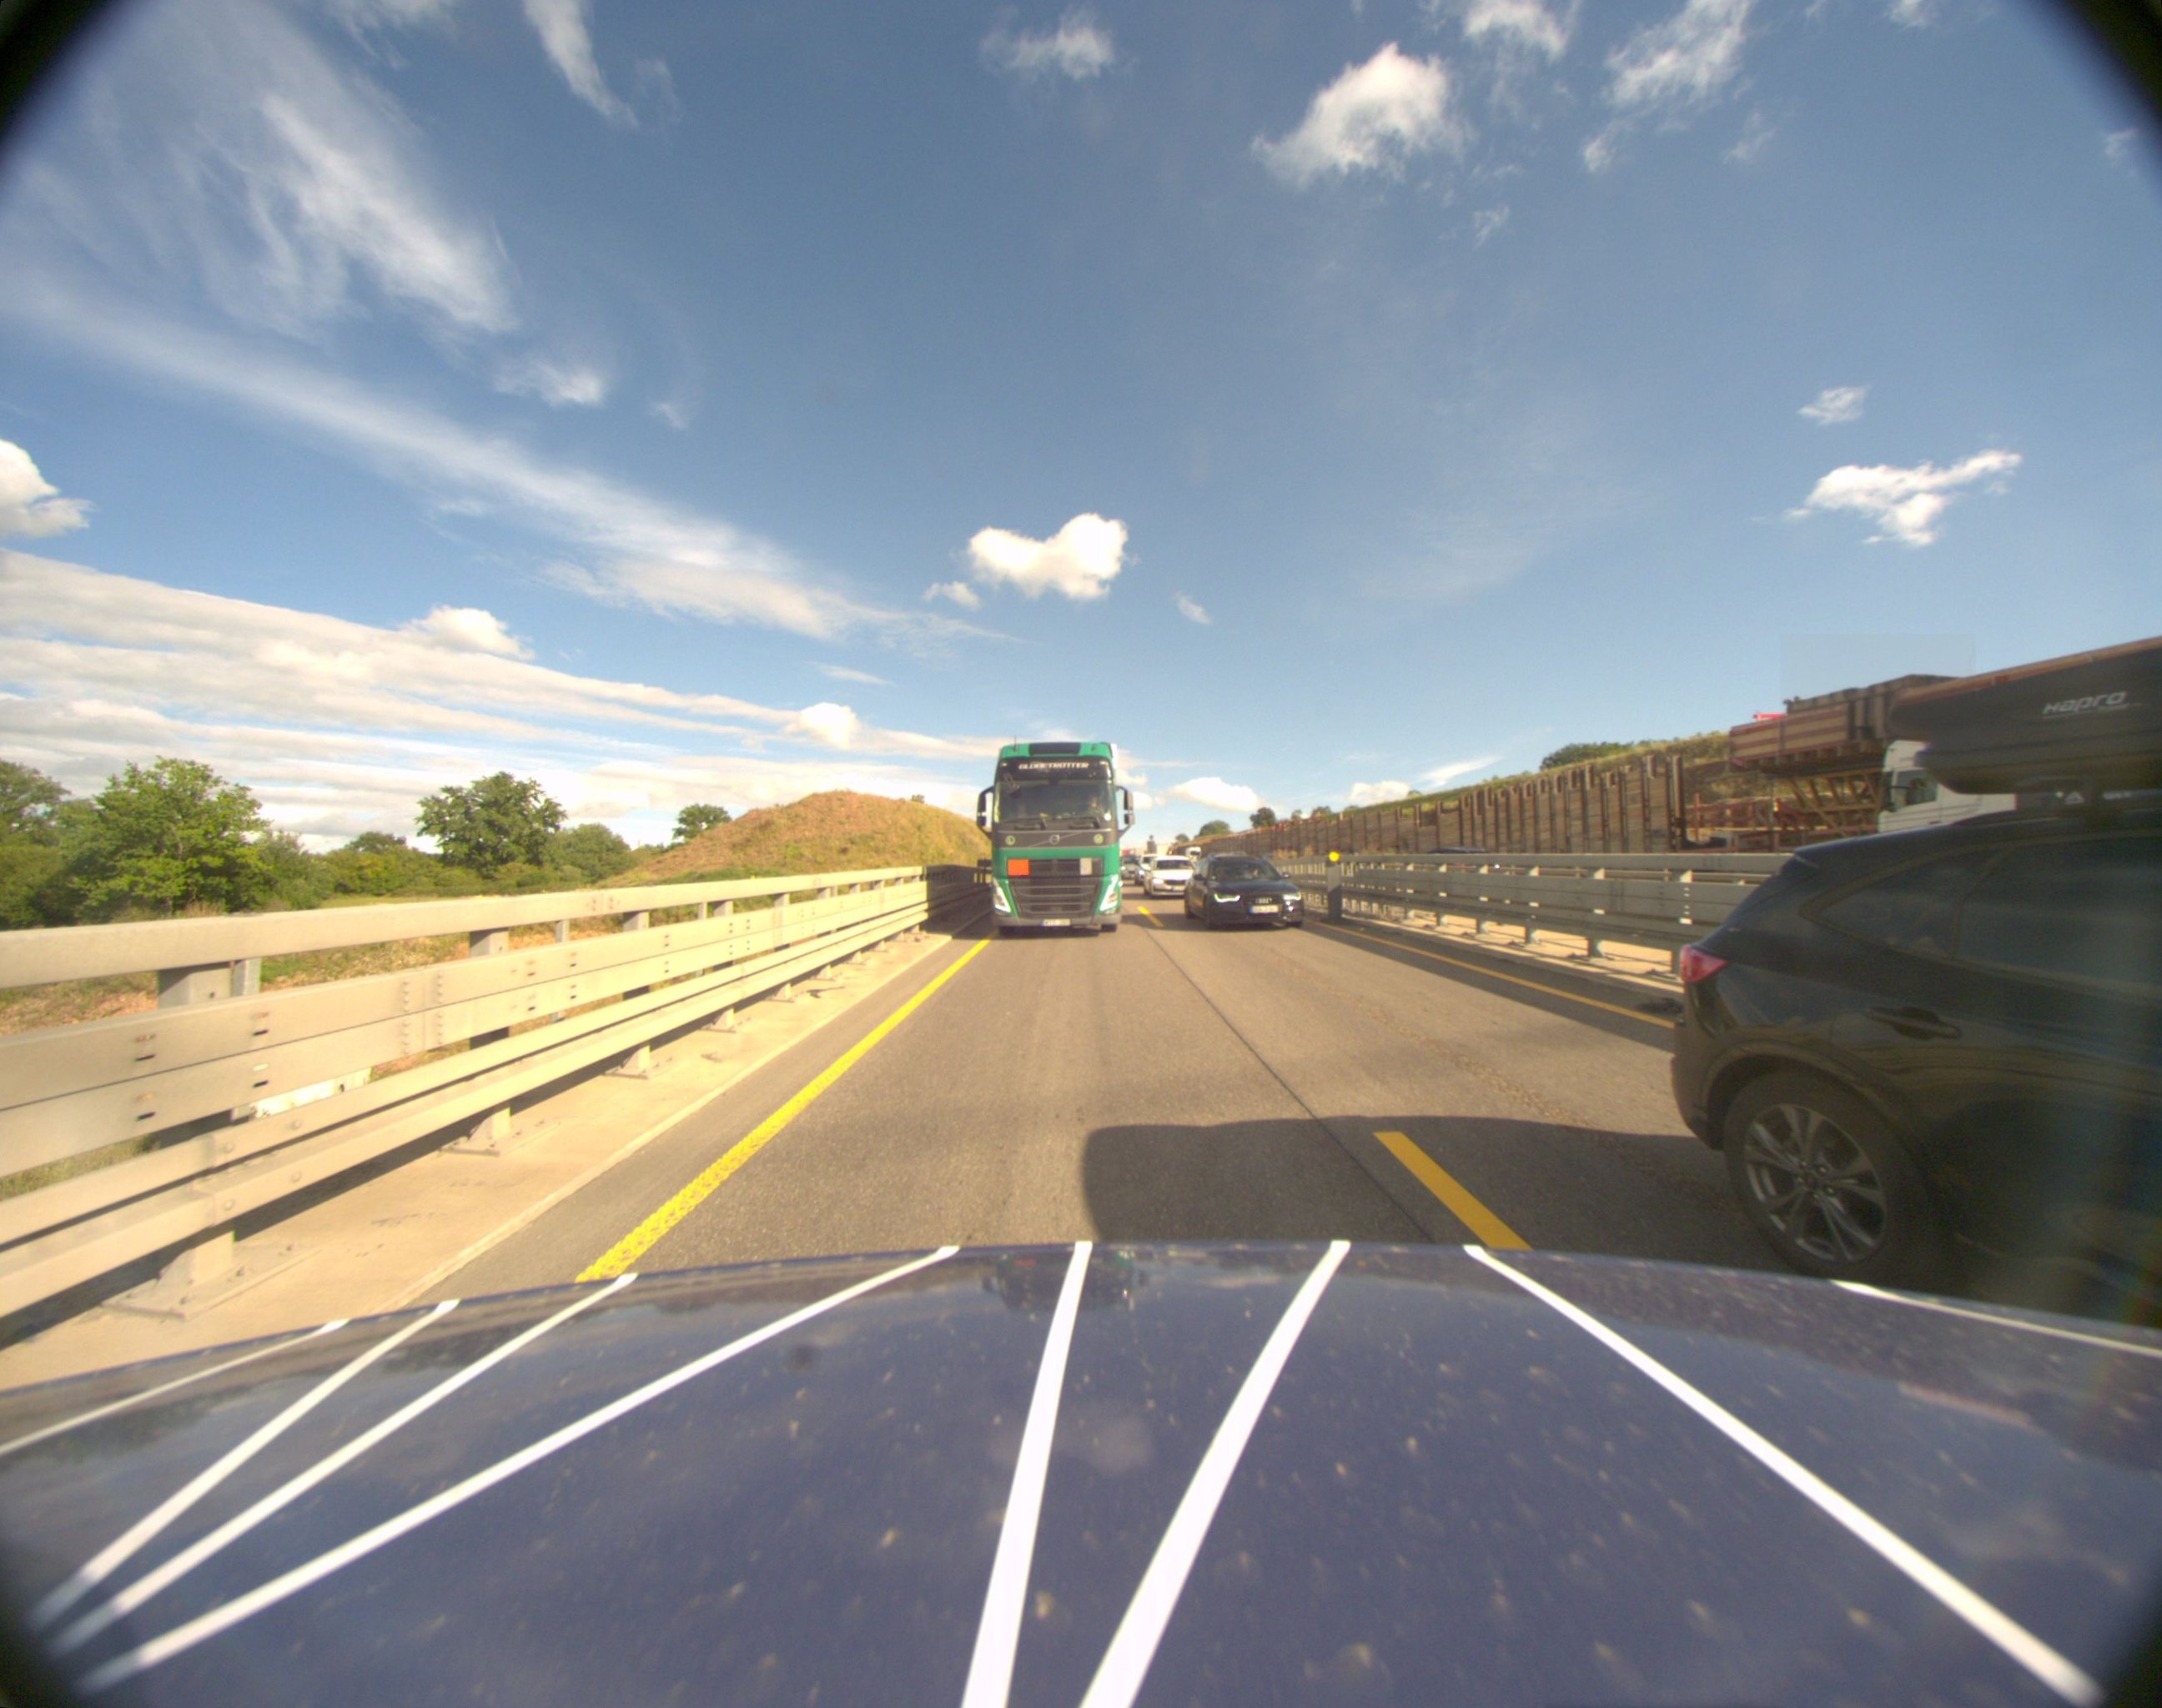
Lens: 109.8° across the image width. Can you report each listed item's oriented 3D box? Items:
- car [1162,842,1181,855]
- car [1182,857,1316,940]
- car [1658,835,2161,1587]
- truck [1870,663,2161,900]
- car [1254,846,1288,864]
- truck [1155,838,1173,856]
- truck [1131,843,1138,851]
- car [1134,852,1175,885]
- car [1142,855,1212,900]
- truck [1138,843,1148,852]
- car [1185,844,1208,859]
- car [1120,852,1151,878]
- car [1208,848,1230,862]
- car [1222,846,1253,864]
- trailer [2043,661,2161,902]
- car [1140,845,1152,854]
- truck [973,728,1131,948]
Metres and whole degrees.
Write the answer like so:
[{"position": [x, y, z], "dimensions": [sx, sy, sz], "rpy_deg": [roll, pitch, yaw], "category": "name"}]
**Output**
[{"position": [17.978, -1.134, 151.082], "dimensions": [2.887, 2.329, 6.404], "rpy_deg": [-2, 1, 0], "category": "car"}, {"position": [3.402, 0.834, 16.268], "dimensions": [1.949, 1.422, 4.504], "rpy_deg": [0, 1, 1], "category": "car"}, {"position": [3.209, 0.799, 0.833], "dimensions": [1.804, 1.533, 4.383], "rpy_deg": [-4, 1, 1], "category": "car"}, {"position": [17.906, -1.184, 13.462], "dimensions": [2.849, 3.608, 4.809], "rpy_deg": [-2, 1, 1], "category": "truck"}, {"position": [17.248, 0.029, 69.102], "dimensions": [1.949, 1.422, 4.407], "rpy_deg": [-3, 1, 0], "category": "car"}, {"position": [18.828, -1.668, 172.454], "dimensions": [3.178, 3.843, 8.233], "rpy_deg": [-2, 1, 0], "category": "truck"}, {"position": [18.400, -2.425, 261.842], "dimensions": [1.998, 2.503, 6.553], "rpy_deg": [-2, 1, 0], "category": "truck"}, {"position": [3.689, 0.693, 38.492], "dimensions": [1.659, 1.510, 3.999], "rpy_deg": [-2, 1, 0], "category": "car"}, {"position": [3.368, 0.785, 27.352], "dimensions": [1.949, 1.422, 4.408], "rpy_deg": [-2, 0, 1], "category": "car"}, {"position": [19.458, -2.095, 238.637], "dimensions": [2.383, 2.503, 6.553], "rpy_deg": [-2, 1, 0], "category": "truck"}, {"position": [18.392, -0.438, 121.467], "dimensions": [2.572, 2.329, 6.404], "rpy_deg": [-2, 1, 0], "category": "car"}, {"position": [3.422, 0.670, 48.128], "dimensions": [1.659, 1.510, 3.999], "rpy_deg": [-2, 1, 0], "category": "car"}, {"position": [17.232, 0.101, 95.110], "dimensions": [1.949, 1.422, 4.407], "rpy_deg": [-3, 1, 0], "category": "car"}, {"position": [14.565, 0.085, 70.858], "dimensions": [1.949, 1.422, 4.407], "rpy_deg": [-3, 1, 0], "category": "car"}, {"position": [17.822, -1.060, 6.201], "dimensions": [2.870, 3.646, 13.526], "rpy_deg": [-2, 1, 0], "category": "trailer"}, {"position": [17.998, -1.208, 211.227], "dimensions": [2.887, 2.329, 6.404], "rpy_deg": [-2, 1, 0], "category": "car"}, {"position": [-0.473, -0.363, 18.700], "dimensions": [2.663, 3.825, 10.315], "rpy_deg": [-2, 1, 0], "category": "truck"}]
